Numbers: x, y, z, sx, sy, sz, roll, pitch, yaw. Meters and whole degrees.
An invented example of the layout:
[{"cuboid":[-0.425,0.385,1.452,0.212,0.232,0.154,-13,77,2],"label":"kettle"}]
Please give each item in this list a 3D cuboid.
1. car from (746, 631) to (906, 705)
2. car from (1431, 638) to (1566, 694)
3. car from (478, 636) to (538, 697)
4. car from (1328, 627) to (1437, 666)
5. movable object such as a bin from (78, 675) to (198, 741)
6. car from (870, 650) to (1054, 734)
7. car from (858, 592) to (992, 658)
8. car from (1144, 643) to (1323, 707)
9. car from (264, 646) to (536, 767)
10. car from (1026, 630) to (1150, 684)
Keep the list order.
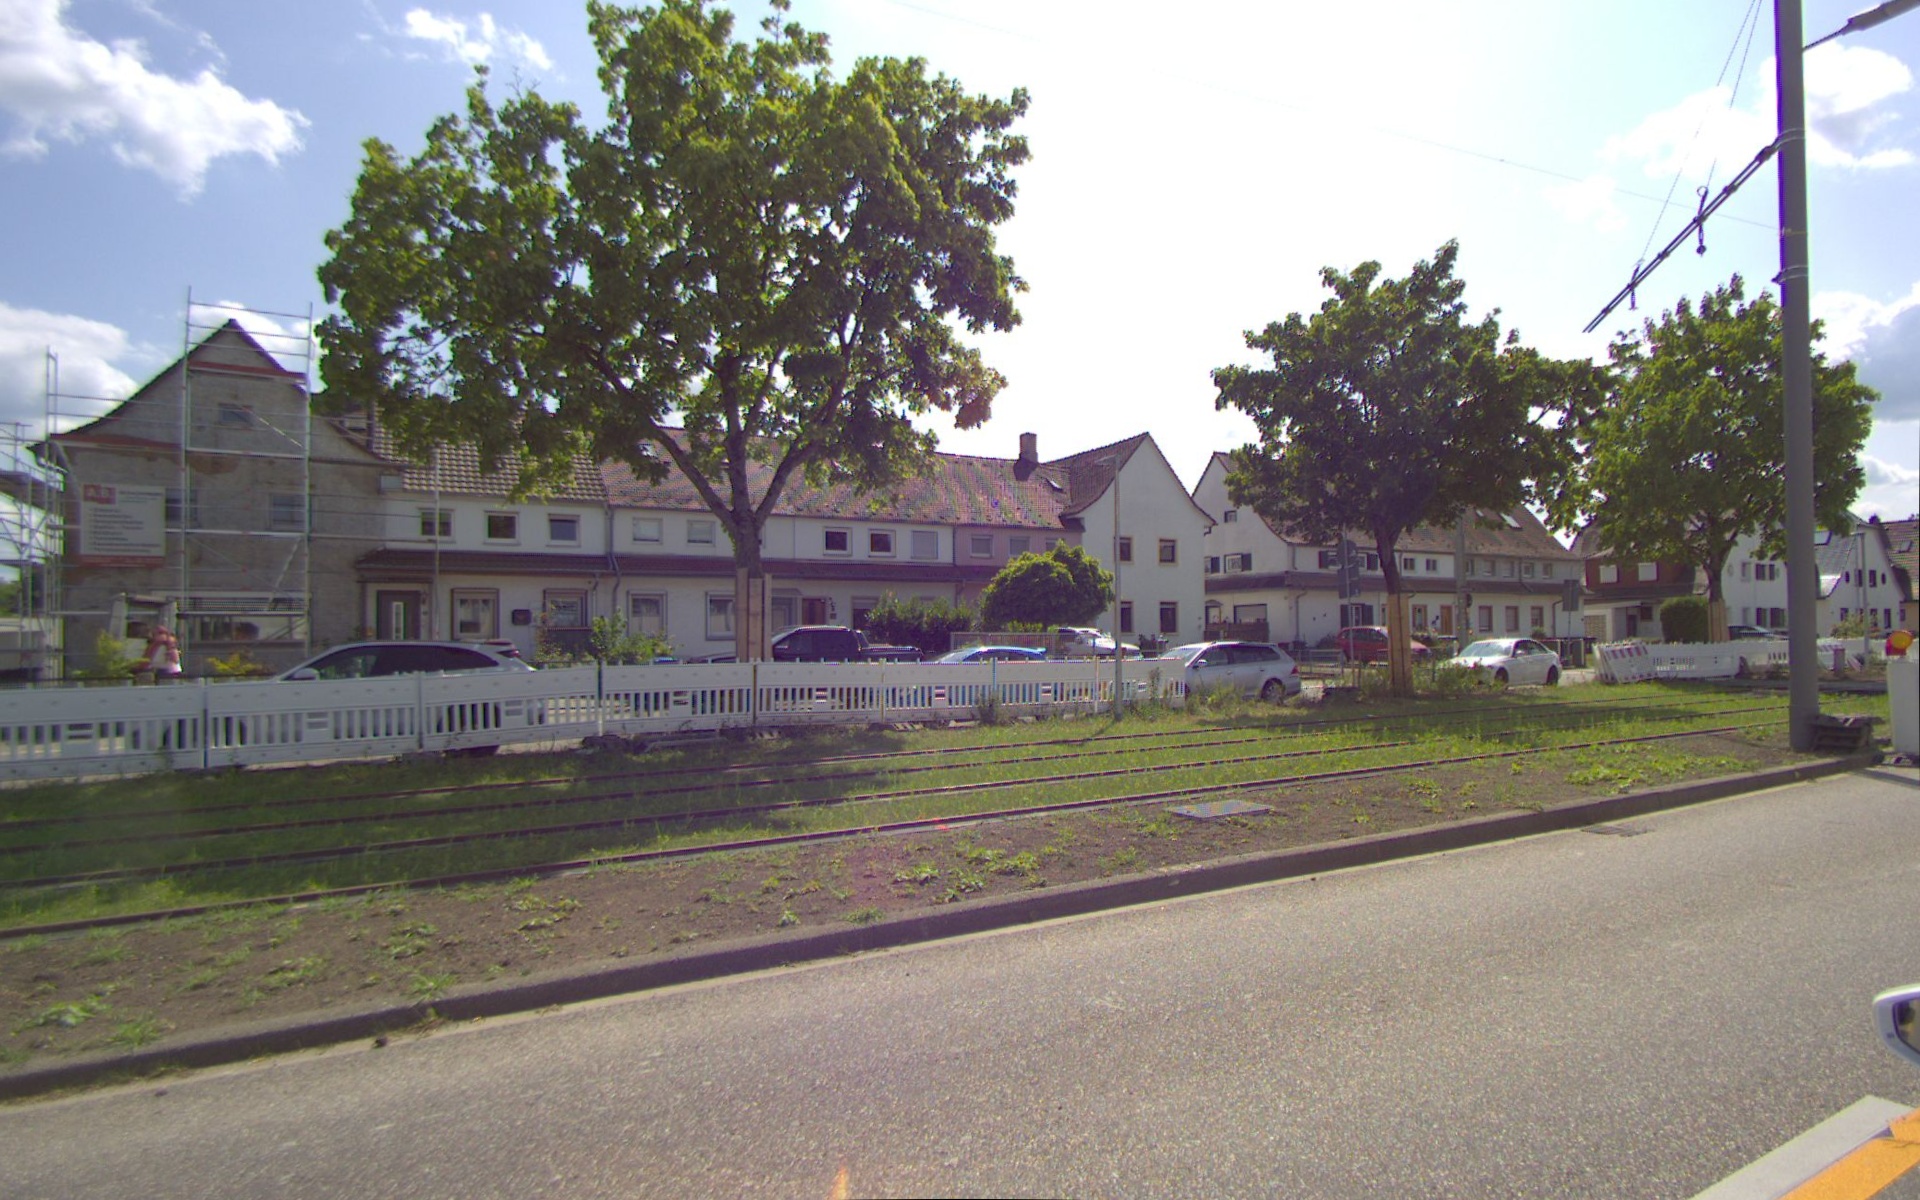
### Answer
[{"cuboid":[-2.954,1.457,22.274,3.272,1.515,1.376,1,-2,-31],"label":"car"},{"cuboid":[14.693,1.752,27.323,4.211,1.394,1.530,1,-3,-36],"label":"car"},{"cuboid":[-11.522,1.648,25.549,1.269,1.398,2.797,1,-1,-27],"label":"car"},{"cuboid":[17.616,1.935,42.040,1.706,1.529,3.967,0,-3,-31],"label":"car"},{"cuboid":[-17.881,2.318,21.855,1.864,1.214,1.454,0,-1,30],"label":"movable object such as a bin"},{"cuboid":[0.063,1.620,18.328,3.136,1.342,1.333,1,-2,-33],"label":"car"},{"cuboid":[-1.137,0.827,33.144,3.954,2.040,1.984,1,-1,-31],"label":"car"},{"cuboid":[5.821,1.535,21.283,3.704,1.192,1.496,1,-2,-31],"label":"car"},{"cuboid":[-7.519,1.372,13.662,3.078,1.395,1.344,0,-3,-31],"label":"car"},{"cuboid":[4.515,1.982,35.994,1.784,1.708,4.370,1,-1,-40],"label":"car"}]
